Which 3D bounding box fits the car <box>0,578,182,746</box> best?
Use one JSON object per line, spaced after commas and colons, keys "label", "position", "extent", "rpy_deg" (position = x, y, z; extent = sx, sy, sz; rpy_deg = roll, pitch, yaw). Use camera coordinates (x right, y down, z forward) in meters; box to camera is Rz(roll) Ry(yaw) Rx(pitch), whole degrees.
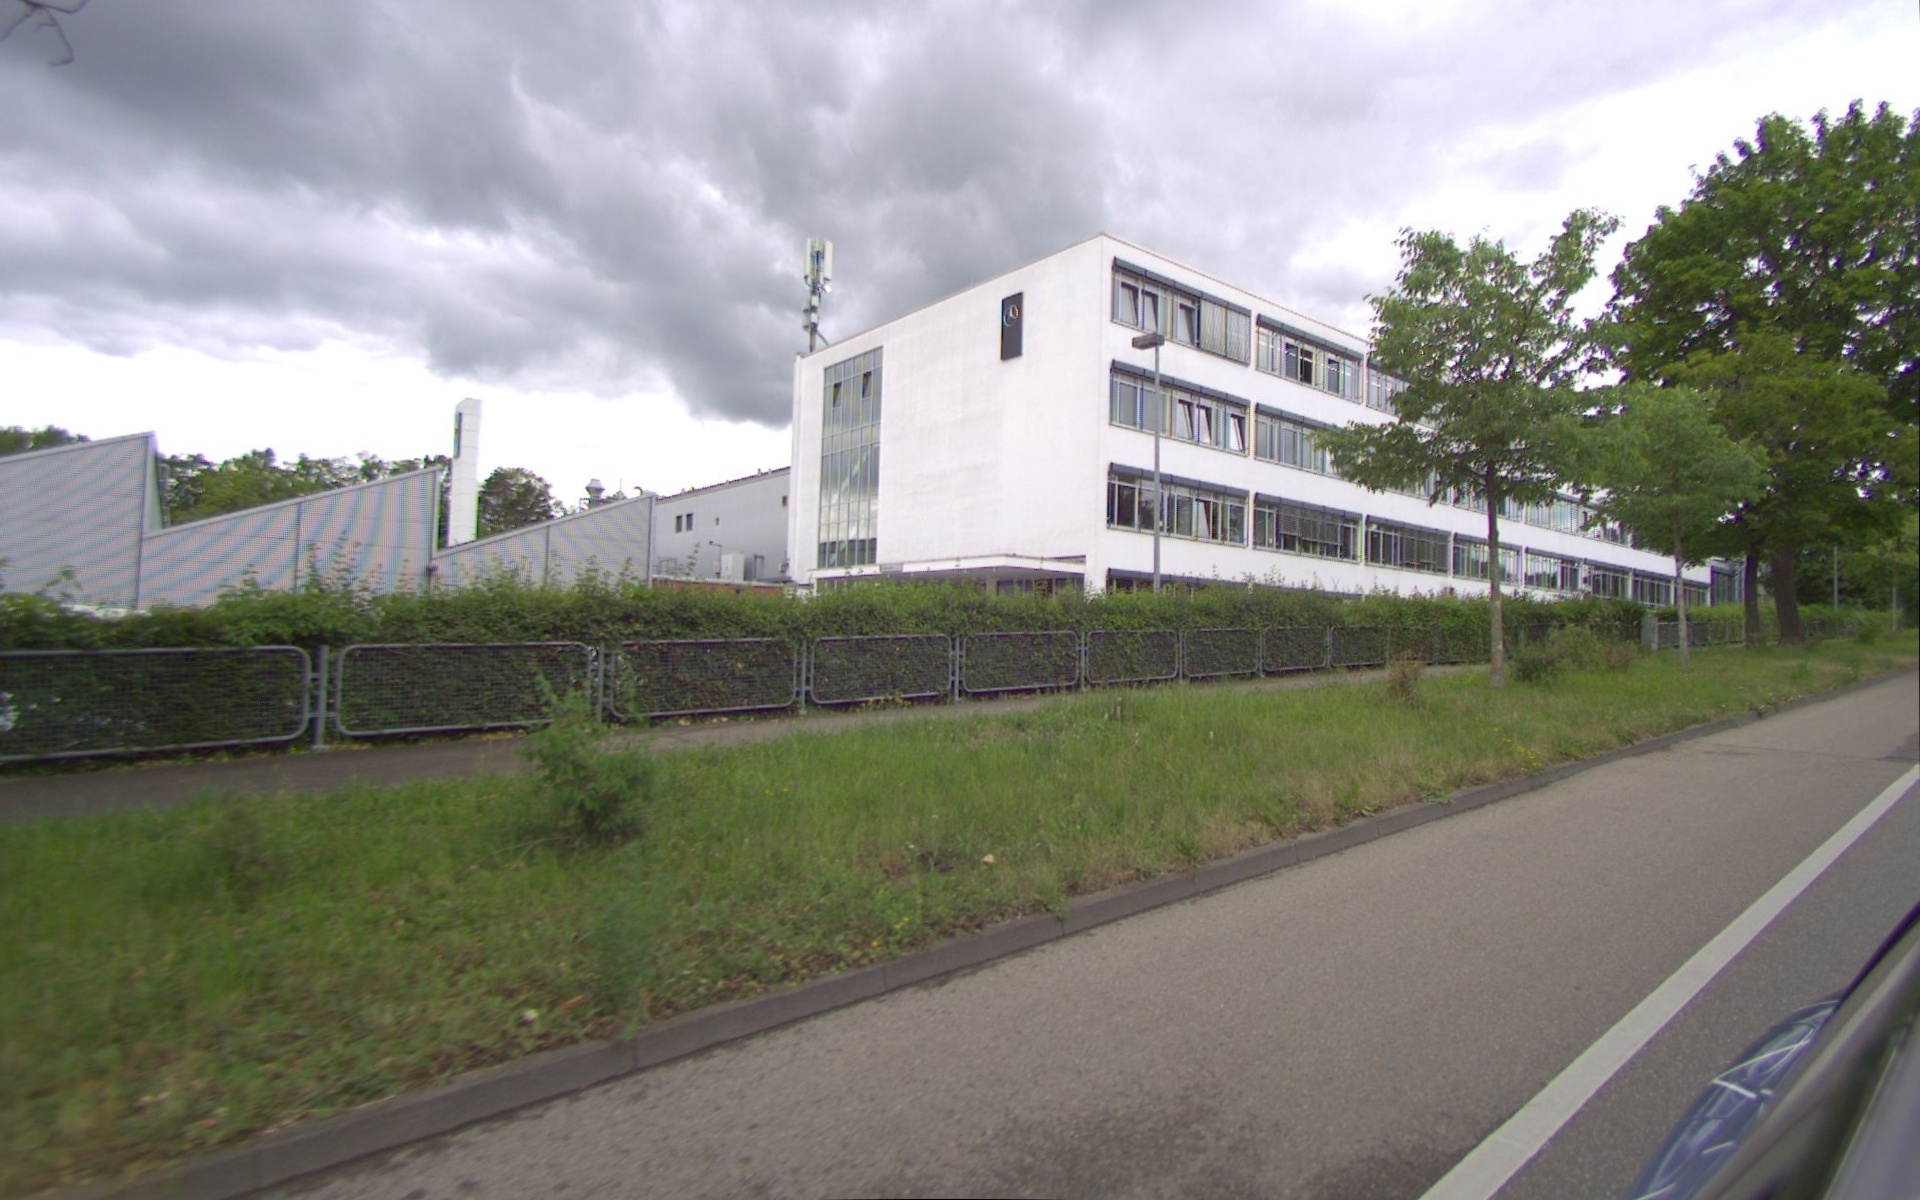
{"label": "car", "position": [-13.531, 0.795, 13.866], "extent": [4.502, 2.060, 2.065], "rpy_deg": [-1, -1, 10]}
